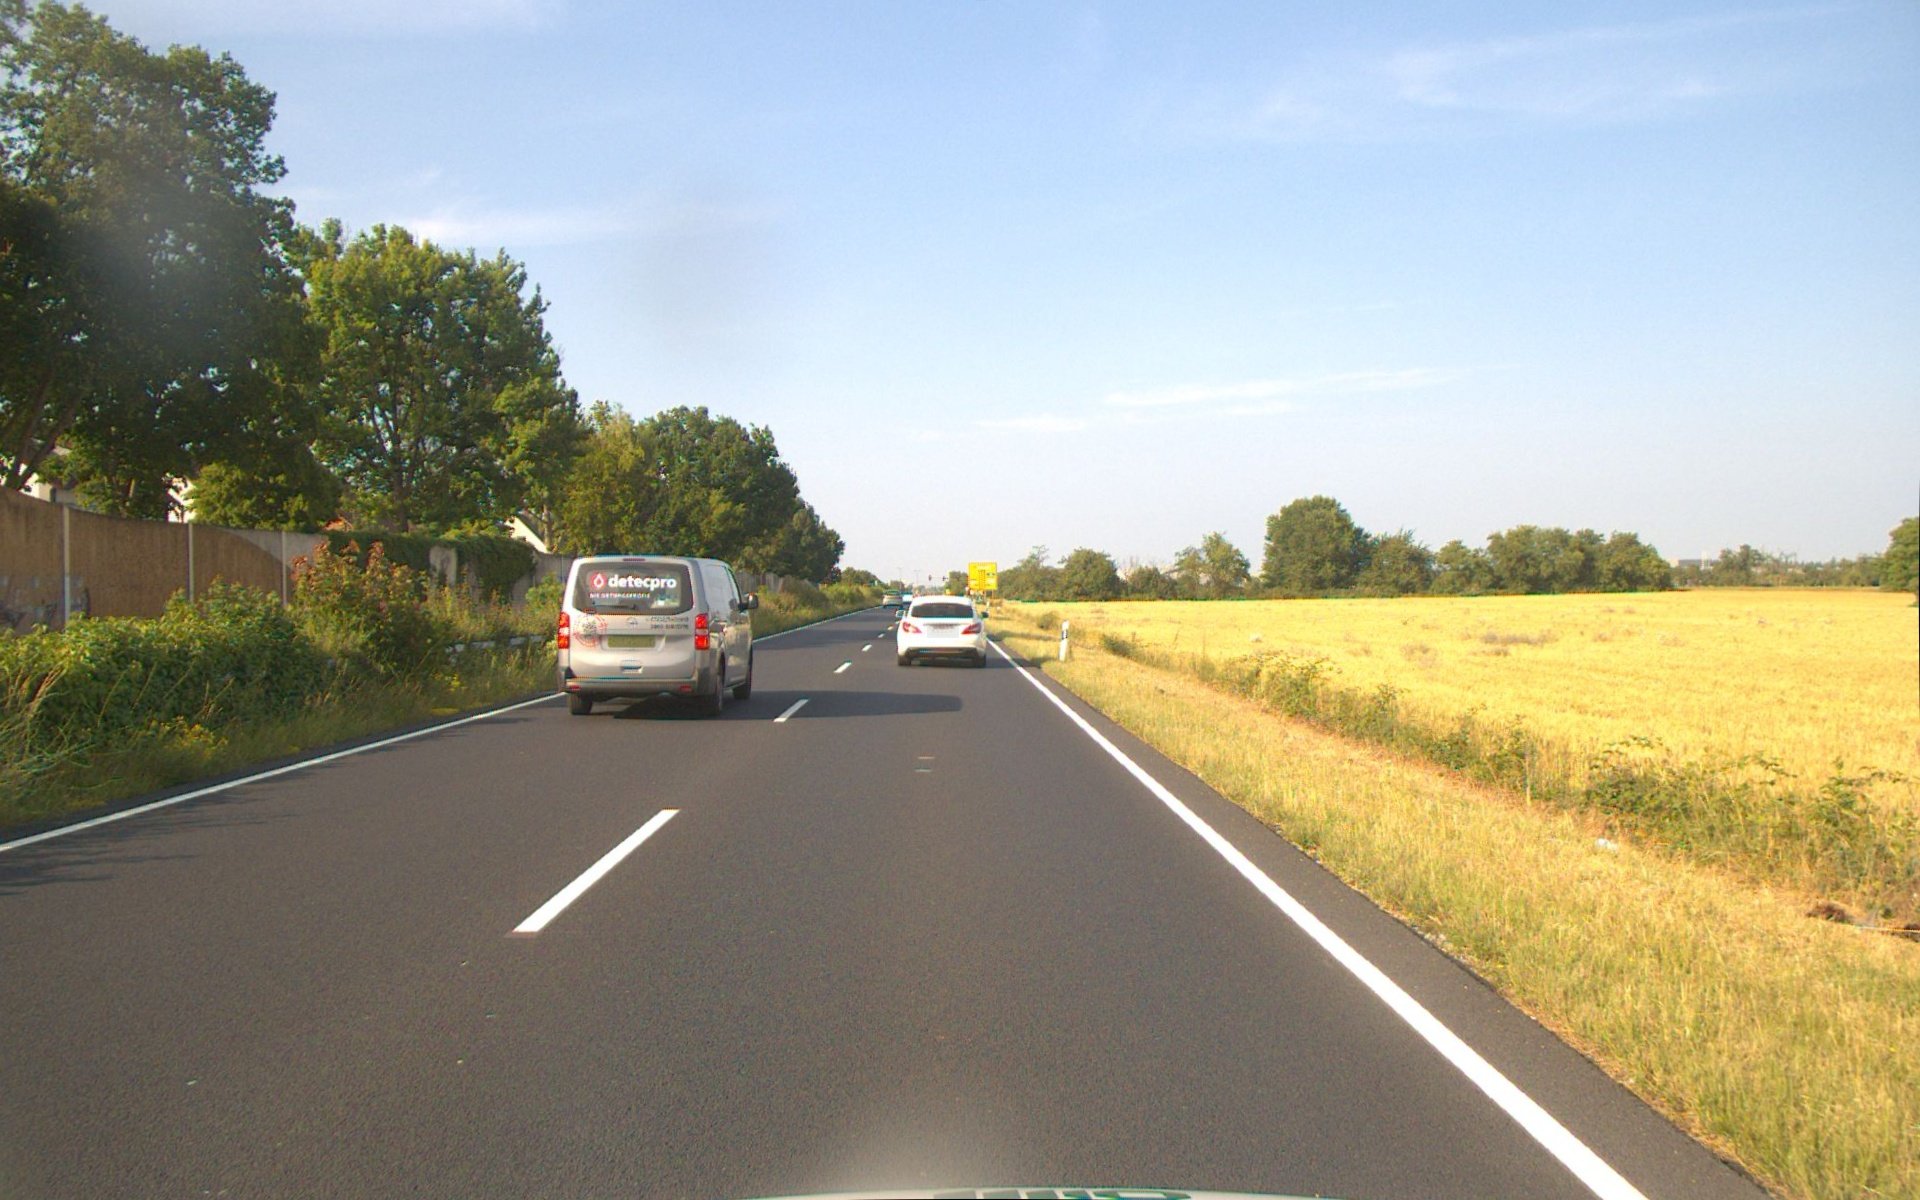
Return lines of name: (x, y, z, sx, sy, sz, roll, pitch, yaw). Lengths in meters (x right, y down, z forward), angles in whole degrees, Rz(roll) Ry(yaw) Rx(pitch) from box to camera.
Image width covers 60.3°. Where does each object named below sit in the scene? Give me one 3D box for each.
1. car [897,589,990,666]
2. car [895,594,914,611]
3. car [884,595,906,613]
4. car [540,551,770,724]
car: (-0.355, 0.549, 35.032, 1.856, 1.535, 3.999, 0, 0, -1)
car: (-5.558, 0.245, 165.658, 1.839, 1.680, 3.662, 1, 0, -2)
car: (-5.475, 0.342, 139.981, 1.682, 1.518, 3.584, 1, 0, 0)
car: (-3.732, 0.408, 21.160, 1.984, 1.925, 4.958, 1, 0, 0)
